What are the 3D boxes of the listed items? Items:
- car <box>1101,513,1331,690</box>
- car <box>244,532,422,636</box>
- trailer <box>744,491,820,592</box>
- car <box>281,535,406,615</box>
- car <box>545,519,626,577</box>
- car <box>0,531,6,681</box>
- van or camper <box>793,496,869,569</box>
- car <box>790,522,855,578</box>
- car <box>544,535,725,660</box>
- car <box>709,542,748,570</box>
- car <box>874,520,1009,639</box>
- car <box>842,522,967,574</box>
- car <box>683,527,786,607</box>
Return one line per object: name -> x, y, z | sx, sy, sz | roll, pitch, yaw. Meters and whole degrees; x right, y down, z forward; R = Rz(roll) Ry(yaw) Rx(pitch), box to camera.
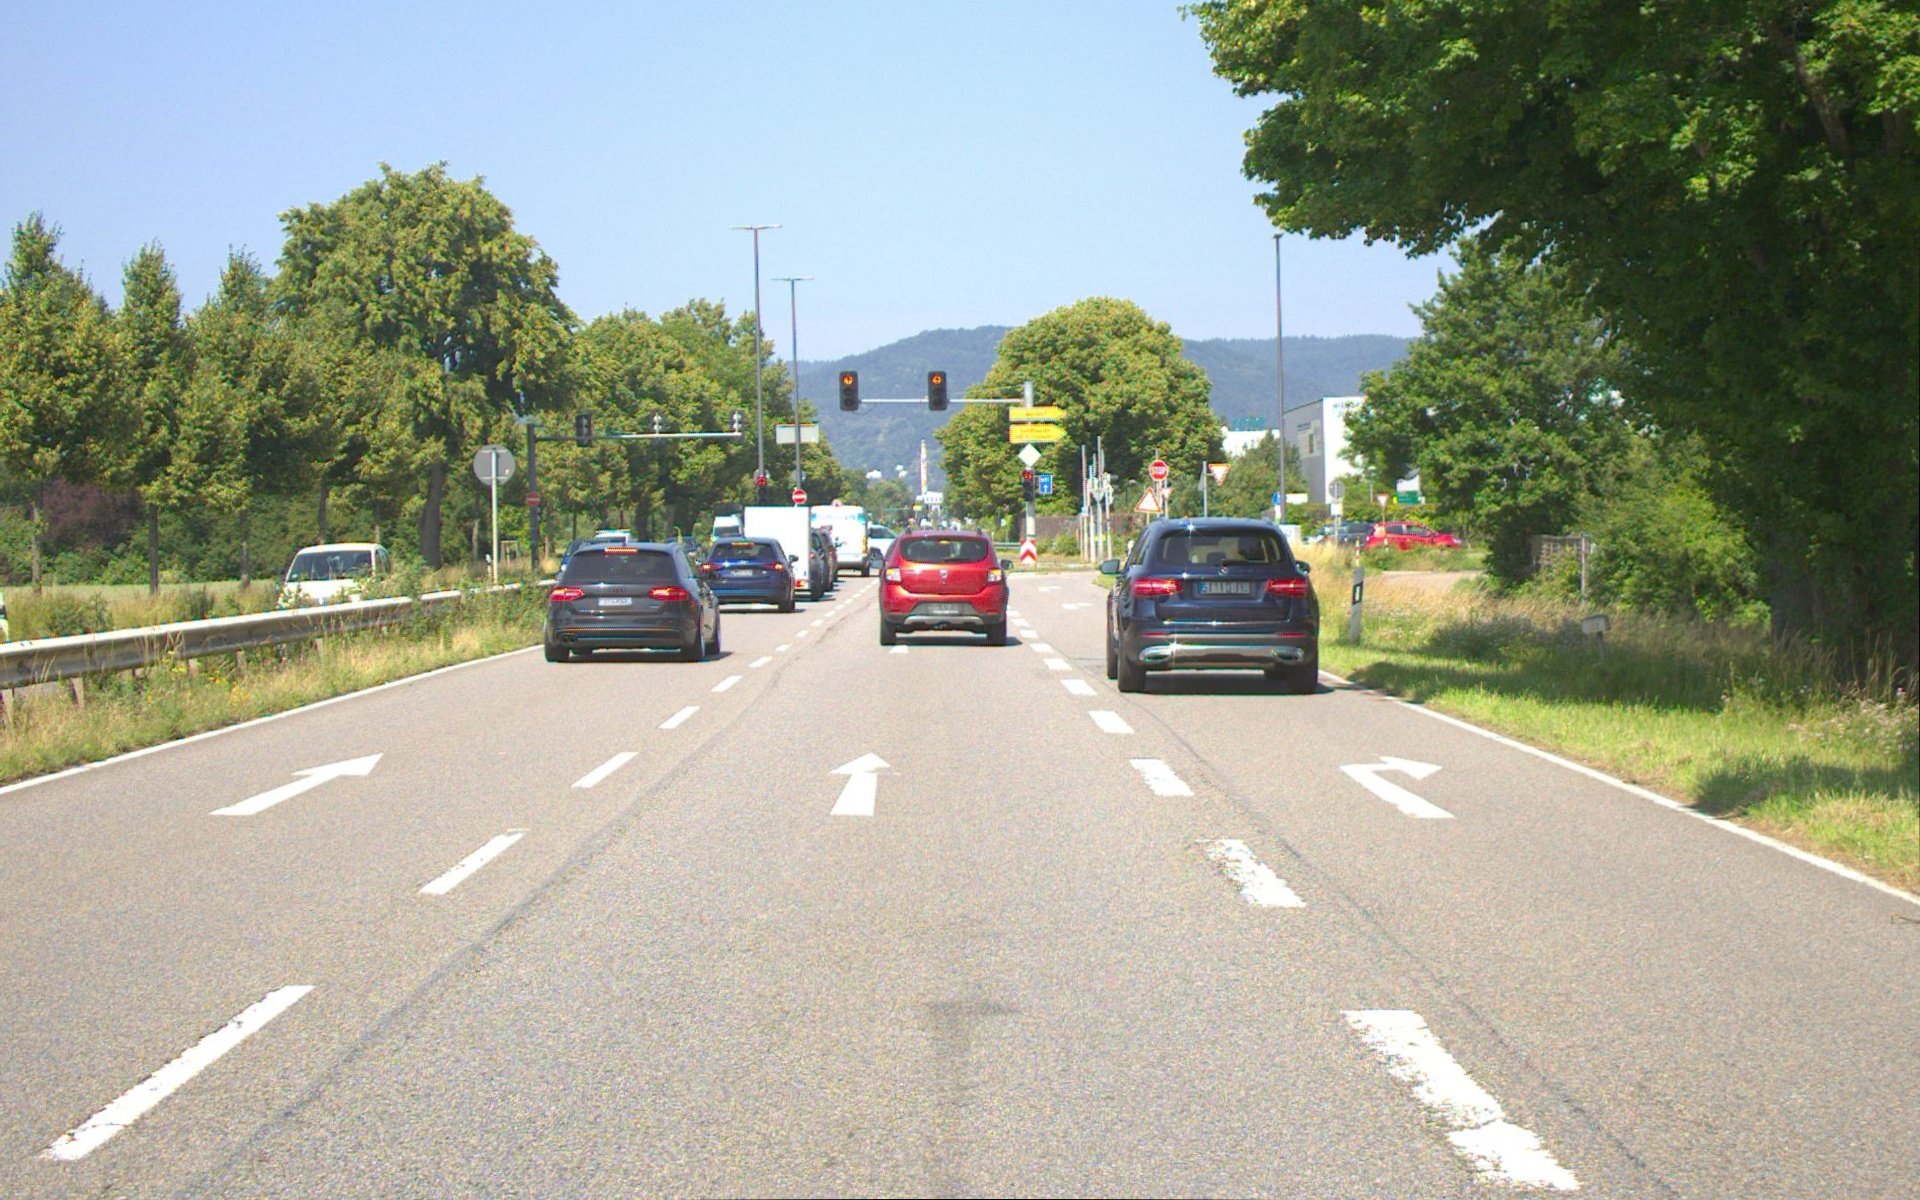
car -> 2.411, -0.037, 33.396 | 1.993, 1.611, 4.339 | 0, 1, 1
car -> -9.945, -0.290, 54.840 | 1.993, 1.551, 4.481 | -1, 1, 0
trailer -> -3.935, -1.311, 76.532 | 1.500, 2.166, 4.174 | 0, 1, -1
car -> -13.580, -0.577, 75.917 | 1.993, 1.657, 4.481 | -1, 1, -1
car -> -11.281, -1.575, 103.820 | 1.993, 1.657, 4.481 | -2, 1, -1
car -> -13.549, 0.144, 42.568 | 1.993, 1.954, 4.927 | -1, 1, 1
van or camper -> -4.171, -2.212, 112.222 | 2.179, 2.295, 4.827 | -2, 1, 1
car -> -4.002, -1.484, 100.749 | 1.724, 1.594, 3.955 | 0, 1, 0
car -> -3.835, -0.066, 41.112 | 1.740, 1.375, 4.455 | 0, 1, 0
car -> -12.847, -2.461, 191.044 | 1.879, 1.449, 4.505 | -2, 1, -1
car -> -0.217, -0.315, 47.154 | 1.749, 1.570, 3.676 | 0, 1, 1
car -> -2.131, -2.013, 132.643 | 4.492, 1.861, 1.884 | -1, 1, 11
car -> -4.263, -0.651, 65.562 | 1.717, 1.460, 4.030 | 0, 1, 0
